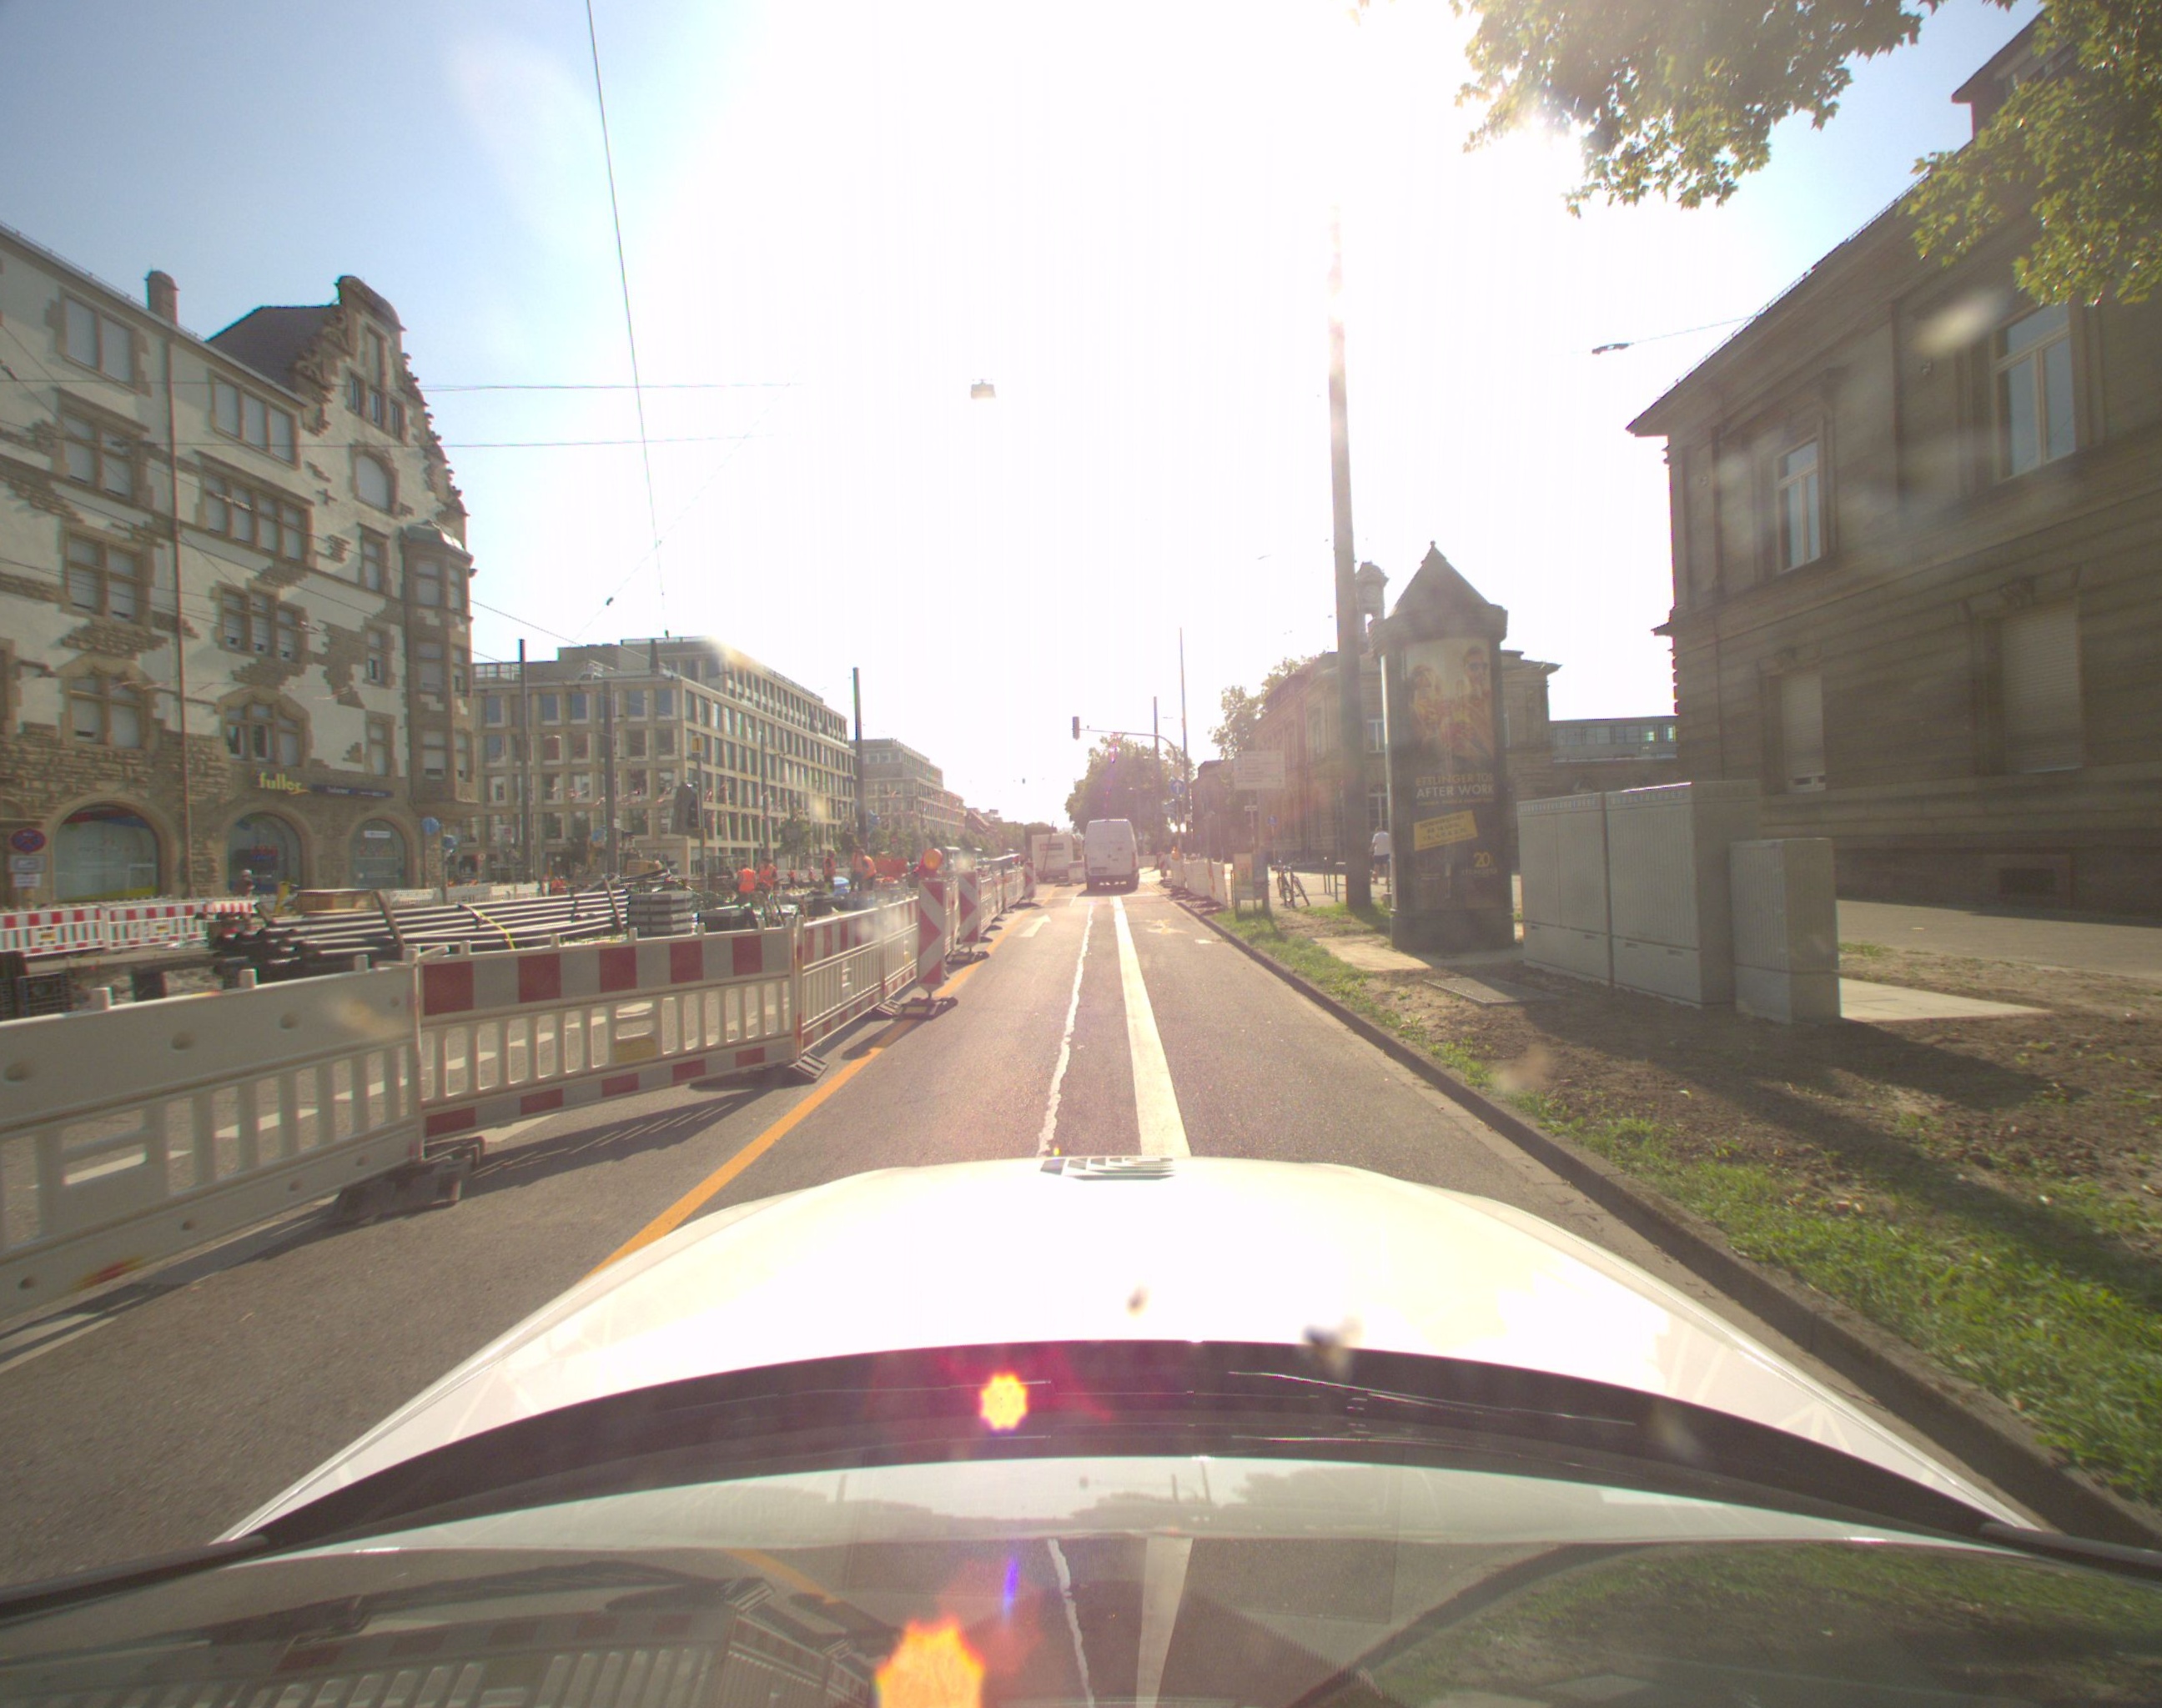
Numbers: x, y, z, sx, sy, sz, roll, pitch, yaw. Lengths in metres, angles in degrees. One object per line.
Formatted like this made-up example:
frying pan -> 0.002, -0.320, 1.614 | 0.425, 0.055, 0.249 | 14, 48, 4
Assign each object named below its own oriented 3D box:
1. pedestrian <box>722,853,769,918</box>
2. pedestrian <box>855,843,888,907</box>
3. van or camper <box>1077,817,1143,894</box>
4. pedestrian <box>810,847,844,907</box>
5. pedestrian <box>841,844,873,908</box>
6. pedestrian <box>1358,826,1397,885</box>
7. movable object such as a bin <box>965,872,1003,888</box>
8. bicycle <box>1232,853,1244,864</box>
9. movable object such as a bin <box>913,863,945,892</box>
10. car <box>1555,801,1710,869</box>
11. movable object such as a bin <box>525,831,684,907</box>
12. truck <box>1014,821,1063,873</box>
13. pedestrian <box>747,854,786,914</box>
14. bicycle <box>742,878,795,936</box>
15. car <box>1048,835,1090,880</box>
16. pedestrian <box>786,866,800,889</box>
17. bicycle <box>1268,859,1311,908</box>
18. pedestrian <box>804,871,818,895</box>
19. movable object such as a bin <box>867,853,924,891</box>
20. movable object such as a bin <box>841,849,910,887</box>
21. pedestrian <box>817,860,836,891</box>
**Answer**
pedestrian -> -9.834, 0.914, 23.870 | 0.821, 1.817, 0.888 | -3, -1, 16
pedestrian -> -6.554, 0.657, 25.465 | 0.717, 1.926, 0.677 | -3, -1, -36
van or camper -> 1.256, 0.023, 32.565 | 2.105, 2.681, 5.259 | -5, 0, 6
pedestrian -> -8.186, 0.728, 26.281 | 0.715, 1.870, 0.710 | -3, -1, 10
pedestrian -> -7.225, 0.709, 26.259 | 0.700, 2.015, 0.667 | -3, -1, -36
pedestrian -> 8.977, 0.043, 24.639 | 0.863, 1.737, 0.671 | -3, 0, 0
movable object such as a bin -> -4.573, 1.224, 38.339 | 1.701, 0.713, 0.722 | -3, -1, 34
bicycle -> 16.483, 0.463, 85.587 | 0.492, 0.999, 1.807 | -3, 2, -18
movable object such as a bin -> -6.847, 1.059, 36.773 | 0.883, 1.211, 2.214 | -3, 0, 3
car -> 16.689, -0.524, 24.938 | 1.896, 1.783, 4.226 | -4, 0, 2
movable object such as a bin -> -30.656, 0.986, 52.646 | 7.304, 4.347, 4.988 | -3, -2, 14
truck -> -3.601, -0.546, 66.953 | 2.793, 3.912, 8.387 | -1, 0, -11
pedestrian -> -9.773, 0.932, 25.278 | 0.835, 1.809, 0.745 | -2, -1, -44
bicycle -> -6.386, 1.046, 16.723 | 0.562, 1.099, 1.962 | -1, -1, -8
car -> -0.620, 0.213, 49.918 | 2.199, 2.424, 7.201 | -3, -1, 1
pedestrian -> -23.875, 1.920, 67.611 | 0.750, 1.865, 0.811 | -2, 0, 5
bicycle -> 4.687, 0.642, 18.386 | 0.536, 1.006, 1.572 | -4, 0, 2
pedestrian -> -22.079, 2.347, 66.618 | 0.923, 1.865, 0.807 | -2, 0, -10
movable object such as a bin -> -8.238, 0.777, 36.459 | 1.593, 1.559, 3.289 | -3, 0, 3
movable object such as a bin -> -17.549, 1.220, 70.356 | 3.600, 2.958, 8.478 | -1, -1, 1
pedestrian -> -16.177, 1.377, 51.771 | 0.781, 1.912, 0.725 | -3, -1, 10
